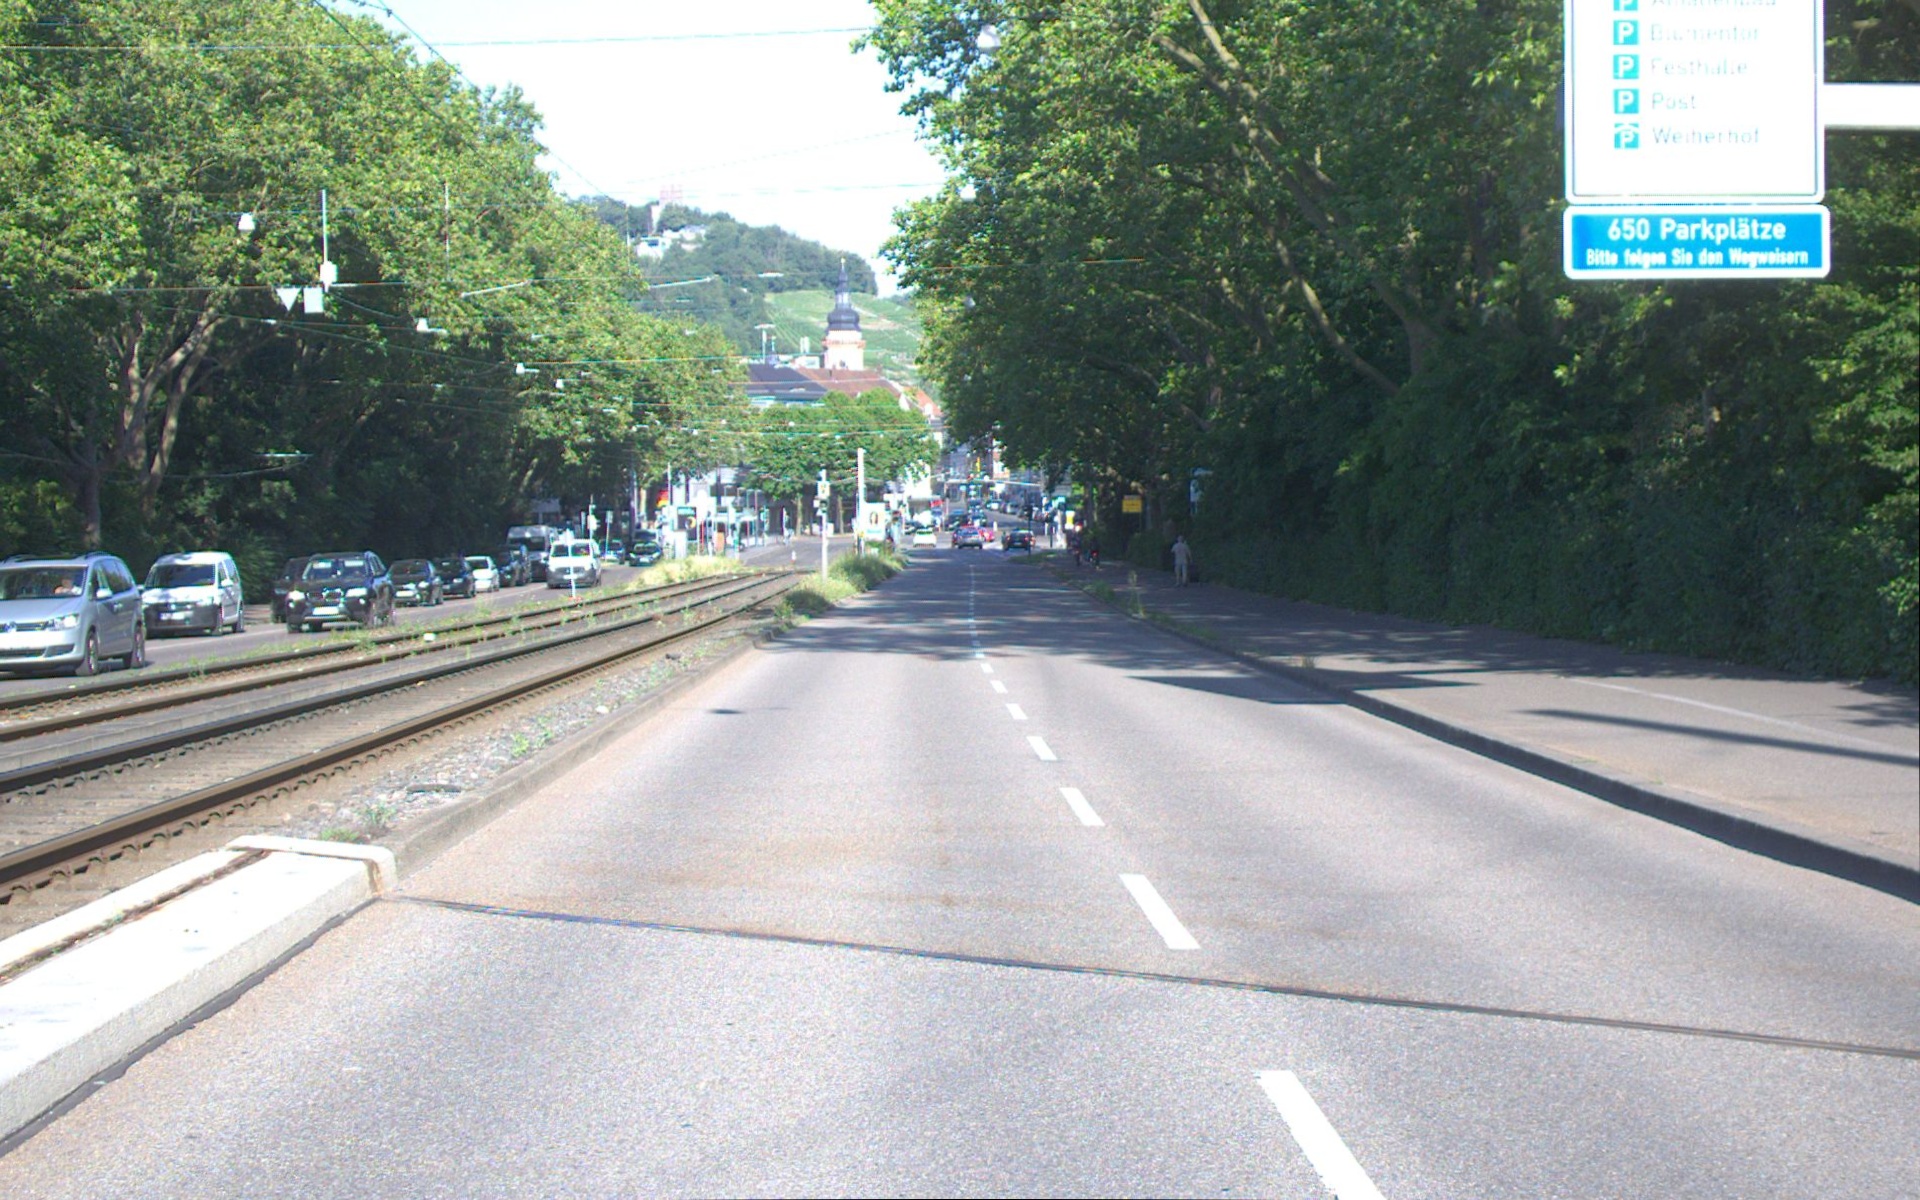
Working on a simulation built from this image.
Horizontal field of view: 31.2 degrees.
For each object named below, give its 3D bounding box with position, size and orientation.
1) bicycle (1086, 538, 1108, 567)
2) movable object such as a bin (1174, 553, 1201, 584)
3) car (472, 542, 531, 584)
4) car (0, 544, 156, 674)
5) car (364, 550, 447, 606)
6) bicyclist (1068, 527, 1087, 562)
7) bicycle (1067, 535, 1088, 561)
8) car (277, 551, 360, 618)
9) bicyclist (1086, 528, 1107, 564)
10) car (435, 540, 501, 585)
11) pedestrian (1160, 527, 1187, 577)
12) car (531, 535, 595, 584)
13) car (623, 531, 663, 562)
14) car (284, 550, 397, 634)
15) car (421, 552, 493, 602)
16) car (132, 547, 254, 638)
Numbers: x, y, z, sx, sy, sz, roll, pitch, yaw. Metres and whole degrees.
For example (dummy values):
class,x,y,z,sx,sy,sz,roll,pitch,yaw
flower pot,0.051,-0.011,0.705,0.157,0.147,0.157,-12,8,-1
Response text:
class,x,y,z,sx,sy,sz,roll,pitch,yaw
bicycle,6.249,-2.161,156.674,0.887,1.316,2.640,-1,1,0
movable object such as a bin,7.112,-0.977,107.515,0.804,0.944,0.656,-1,1,3
car,-19.394,-1.578,145.589,1.993,1.691,4.745,-1,1,-2
car,-12.793,0.102,48.338,1.873,1.659,4.597,-2,1,0
car,-17.589,-0.715,109.317,1.993,1.691,4.745,-1,1,-2
bicyclist,5.871,-2.788,172.401,0.887,1.768,1.222,-1,1,0
bicycle,5.895,-2.606,172.083,0.887,1.316,2.640,-1,1,-1
car,-16.678,-0.419,89.533,1.741,1.631,4.001,-2,1,-5
bicyclist,6.242,-2.464,156.768,0.887,1.633,1.164,-1,1,0
car,-19.113,-1.474,133.669,1.993,1.691,4.745,-1,1,-2
pedestrian,6.733,-1.517,108.334,0.804,1.540,0.814,-1,1,3
car,-15.621,-1.622,135.354,1.993,1.838,5.302,-1,1,-1
car,-18.358,-3.097,199.003,1.993,1.691,4.745,-1,1,-2
car,-13.195,-0.195,73.462,1.741,1.618,4.395,-2,2,-2
car,-17.880,-0.845,122.355,1.993,1.691,4.745,-1,1,-2
car,-16.538,-0.190,74.338,1.741,1.737,4.515,-4,2,-3
